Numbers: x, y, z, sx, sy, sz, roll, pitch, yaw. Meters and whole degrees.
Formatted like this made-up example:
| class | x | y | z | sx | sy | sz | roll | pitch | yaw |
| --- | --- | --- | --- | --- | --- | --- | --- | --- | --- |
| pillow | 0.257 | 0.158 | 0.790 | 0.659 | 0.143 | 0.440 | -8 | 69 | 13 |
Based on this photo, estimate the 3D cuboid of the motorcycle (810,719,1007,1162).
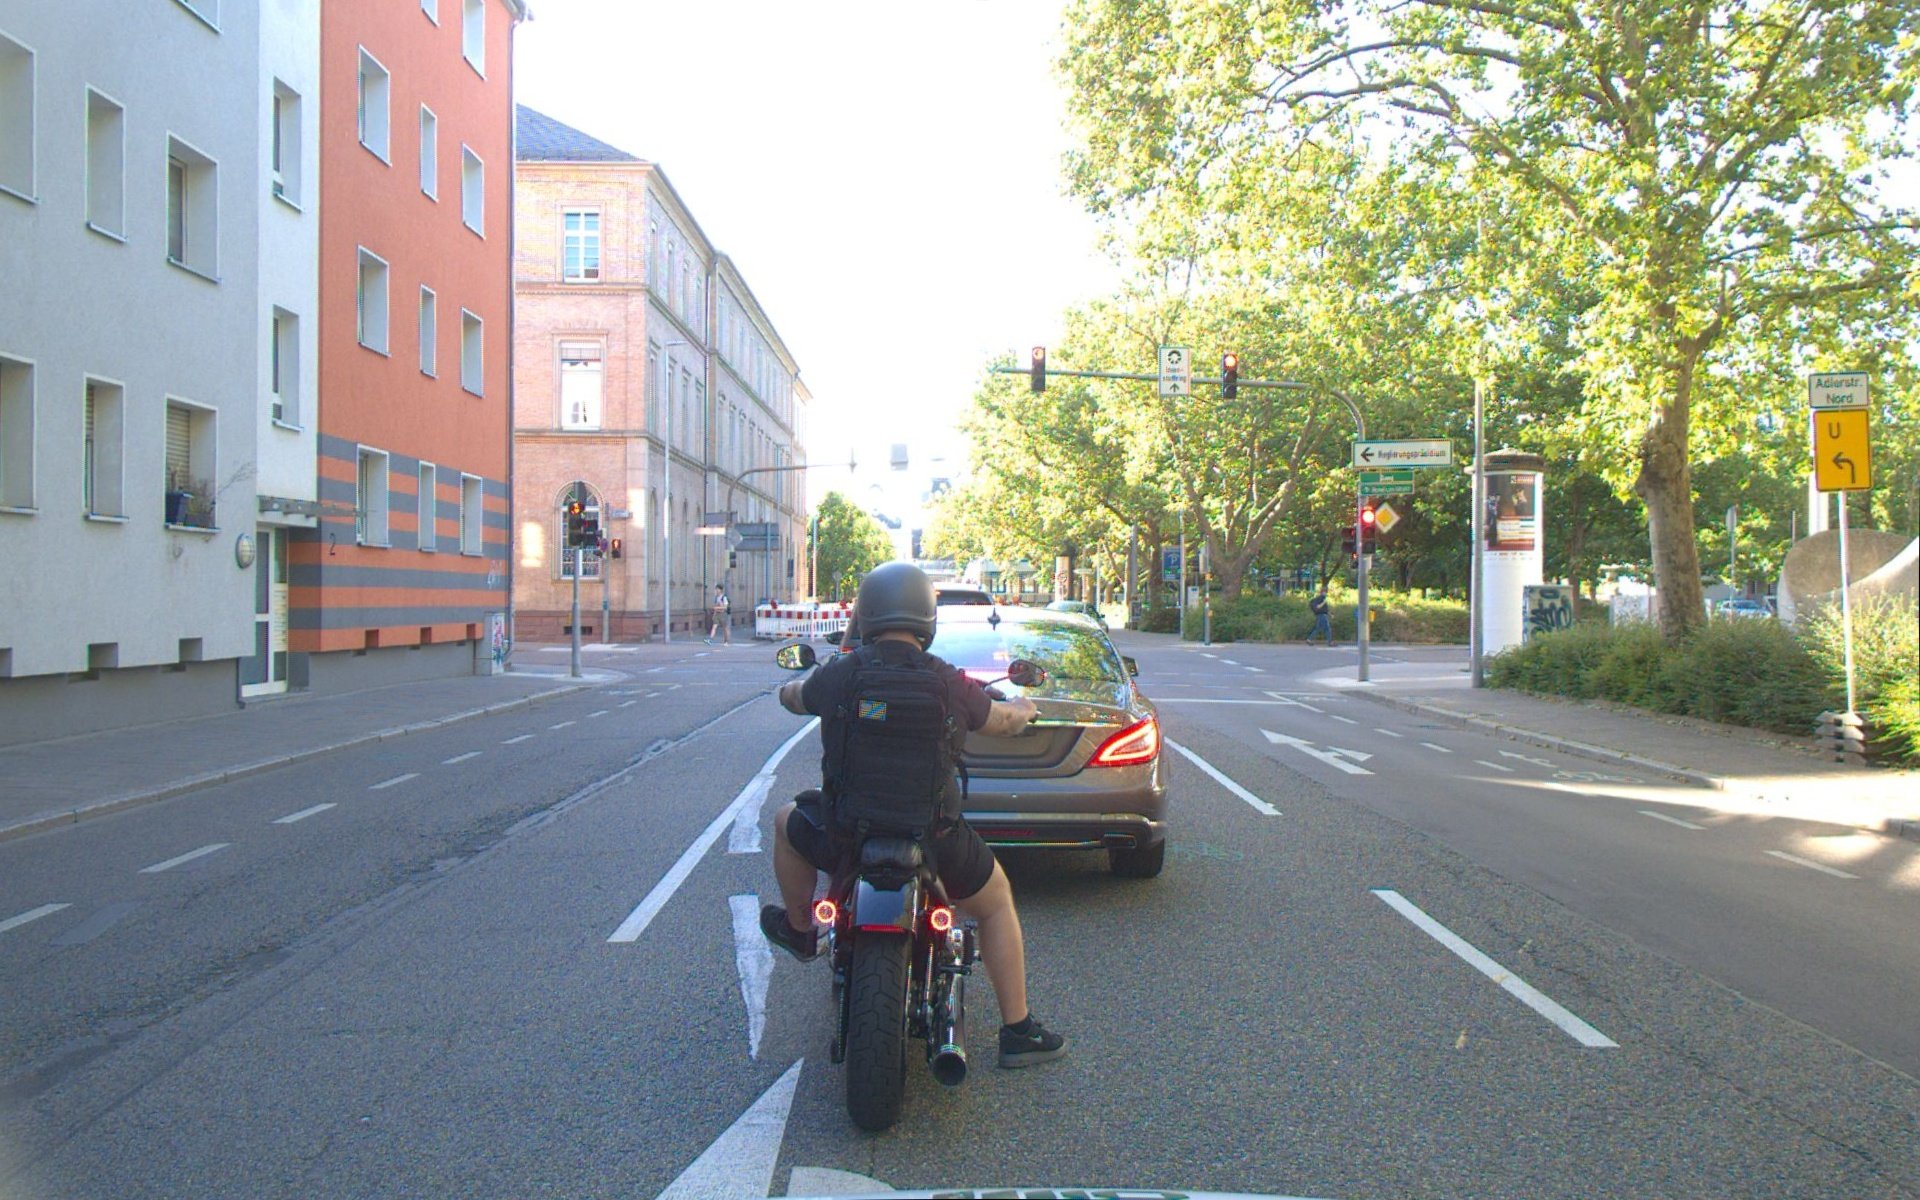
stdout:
| class | x | y | z | sx | sy | sz | roll | pitch | yaw |
| --- | --- | --- | --- | --- | --- | --- | --- | --- | --- |
| motorcycle | -0.150 | 0.969 | 5.359 | 0.503 | 1.020 | 2.013 | 1 | 0 | -1 |

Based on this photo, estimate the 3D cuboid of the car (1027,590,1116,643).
| class | x | y | z | sx | sy | sz | roll | pitch | yaw |
| --- | --- | --- | --- | --- | --- | --- | --- | --- | --- |
| car | 3.599 | 0.531 | 52.782 | 1.813 | 1.602 | 4.137 | 1 | 0 | 18 |

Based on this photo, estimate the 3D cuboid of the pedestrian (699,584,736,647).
| class | x | y | z | sx | sy | sz | roll | pitch | yaw |
| --- | --- | --- | --- | --- | --- | --- | --- | --- | --- |
| pedestrian | -7.290 | 0.449 | 49.665 | 0.984 | 1.858 | 1.073 | 1 | -1 | -12 |

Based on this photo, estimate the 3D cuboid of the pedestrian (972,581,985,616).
| class | x | y | z | sx | sy | sz | roll | pitch | yaw |
| --- | --- | --- | --- | --- | --- | --- | --- | --- | --- |
| pedestrian | 1.136 | -0.090 | 100.969 | 0.748 | 2.087 | 0.712 | 1 | -1 | -1 |

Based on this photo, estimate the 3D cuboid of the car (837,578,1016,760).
| class | x | y | z | sx | sy | sz | roll | pitch | yaw |
| --- | --- | --- | --- | --- | --- | --- | --- | --- | --- |
| car | -0.325 | 0.605 | 16.736 | 1.588 | 1.622 | 3.999 | 0 | 0 | -1 |

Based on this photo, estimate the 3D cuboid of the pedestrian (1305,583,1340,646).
| class | x | y | z | sx | sy | sz | roll | pitch | yaw |
| --- | --- | --- | --- | --- | --- | --- | --- | --- | --- |
| pedestrian | 11.315 | 0.457 | 51.649 | 0.905 | 1.943 | 0.751 | 1 | -1 | 26 |

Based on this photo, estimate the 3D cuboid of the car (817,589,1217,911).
| class | x | y | z | sx | sy | sz | roll | pitch | yaw |
| --- | --- | --- | --- | --- | --- | --- | --- | --- | --- |
| car | 0.241 | 0.693 | 9.628 | 1.844 | 1.475 | 3.819 | 1 | 0 | -1 |

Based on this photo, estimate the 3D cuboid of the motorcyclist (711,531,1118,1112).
| class | x | y | z | sx | sy | sz | roll | pitch | yaw |
| --- | --- | --- | --- | --- | --- | --- | --- | --- | --- |
| motorcyclist | -0.137 | 0.630 | 5.323 | 1.125 | 1.626 | 1.288 | 1 | 0 | -1 |
